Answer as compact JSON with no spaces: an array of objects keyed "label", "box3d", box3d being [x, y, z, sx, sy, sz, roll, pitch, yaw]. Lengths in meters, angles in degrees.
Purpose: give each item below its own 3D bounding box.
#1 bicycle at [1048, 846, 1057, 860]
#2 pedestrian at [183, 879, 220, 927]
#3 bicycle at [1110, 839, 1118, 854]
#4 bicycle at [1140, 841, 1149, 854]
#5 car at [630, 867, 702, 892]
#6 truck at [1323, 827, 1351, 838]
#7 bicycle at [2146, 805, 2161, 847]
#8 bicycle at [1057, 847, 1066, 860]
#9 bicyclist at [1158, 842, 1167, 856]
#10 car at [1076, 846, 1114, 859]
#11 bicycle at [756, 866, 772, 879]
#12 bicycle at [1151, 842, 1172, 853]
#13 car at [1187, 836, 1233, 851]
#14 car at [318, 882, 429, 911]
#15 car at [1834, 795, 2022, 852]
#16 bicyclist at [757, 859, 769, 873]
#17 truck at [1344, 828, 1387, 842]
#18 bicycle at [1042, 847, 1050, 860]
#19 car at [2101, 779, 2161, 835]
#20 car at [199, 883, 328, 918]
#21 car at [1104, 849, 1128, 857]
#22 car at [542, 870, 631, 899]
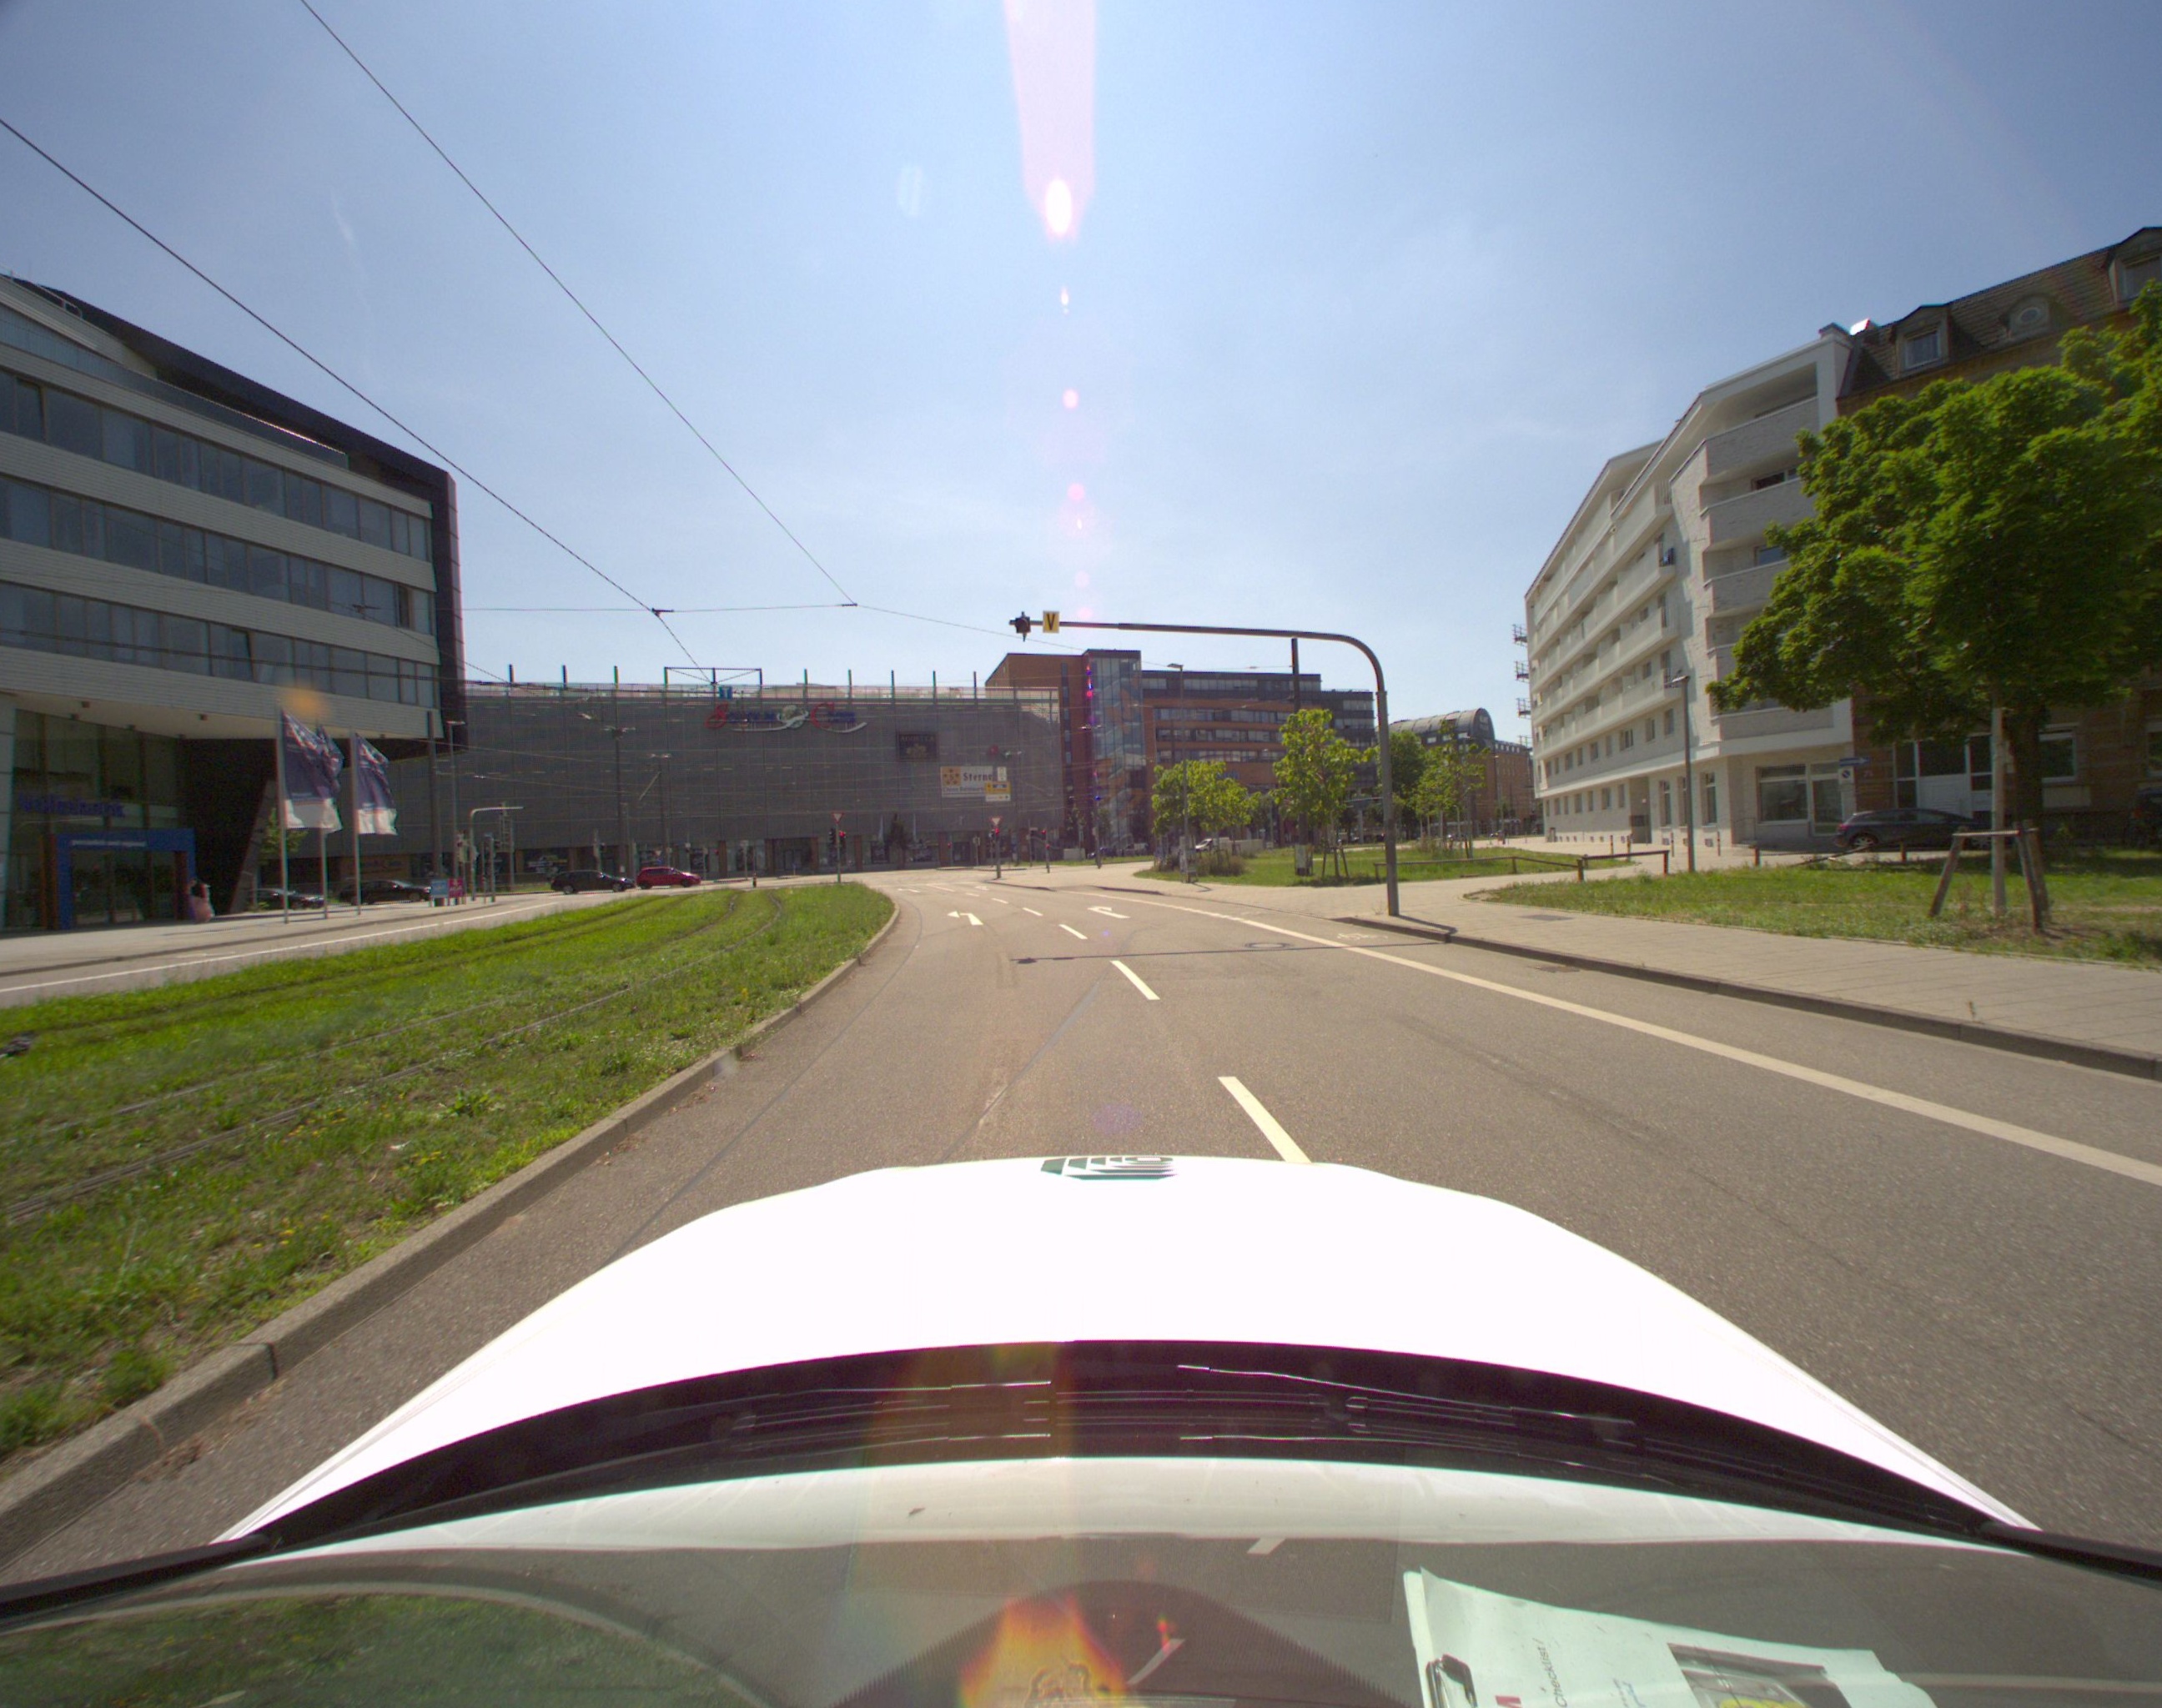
[{"label":"bicycle","box3d":[-3.861,-0.145,108.961,0.600,1.731,2.248,-2,1,-16]},{"label":"pedestrian","box3d":[-30.927,1.702,28.641,0.753,1.630,0.904,-2,1,-42]},{"label":"bicycle","box3d":[4.573,-0.991,112.740,0.486,2.013,2.334,-2,1,-15]},{"label":"bicycle","box3d":[8.884,-0.904,113.926,0.486,1.796,2.247,-2,1,-15]},{"label":"car","box3d":[-28.314,1.722,55.663,4.142,1.508,1.829,-2,1,-22]},{"label":"truck","box3d":[53.585,-4.506,170.479,1.893,2.013,5.315,-2,1,-43]},{"label":"bicycle","box3d":[24.791,-0.647,18.094,2.045,0.935,0.506,-2,0,-11]},{"label":"bicycle","box3d":[-2.604,-0.041,108.902,0.600,1.731,2.248,-2,1,-16]},{"label":"bicyclist","box3d":[11.397,-0.681,114.081,0.914,2.013,0.744,-2,0,-16]},{"label":"car","box3d":[1.636,-0.199,95.494,3.999,1.442,1.733,-2,1,-19]},{"label":"bicycle","box3d":[-35.580,2.045,91.376,1.062,1.390,3.013,-2,1,-10]},{"label":"bicycle","box3d":[11.296,-0.917,114.111,2.855,1.557,0.701,-2,0,-16]},{"label":"car","box3d":[16.319,-1.356,102.821,5.487,1.668,1.985,-2,1,-23]},{"label":"car","box3d":[-43.751,2.634,50.491,4.782,1.460,1.875,-2,1,-21]},{"label":"car","box3d":[27.038,-0.927,26.110,1.704,1.624,4.081,-2,1,-41]},{"label":"bicyclist","box3d":[-35.546,1.349,91.075,1.040,1.571,0.774,-2,0,-11]},{"label":"truck","box3d":[61.163,-4.110,175.219,2.010,2.809,9.134,-2,1,-38]},{"label":"bicycle","box3d":[-4.658,-0.071,108.681,0.600,1.731,2.248,-2,1,-16]},{"label":"car","box3d":[31.326,-1.347,22.367,1.787,1.529,4.033,-2,1,-41]},{"label":"car","box3d":[-45.358,2.543,45.311,4.565,1.576,1.986,-2,1,-21]},{"label":"car","box3d":[4.742,-0.172,109.941,3.004,1.035,1.341,-2,1,-21]},{"label":"car","box3d":[-31.089,1.890,51.392,4.548,1.508,1.827,-3,1,-25]}]
